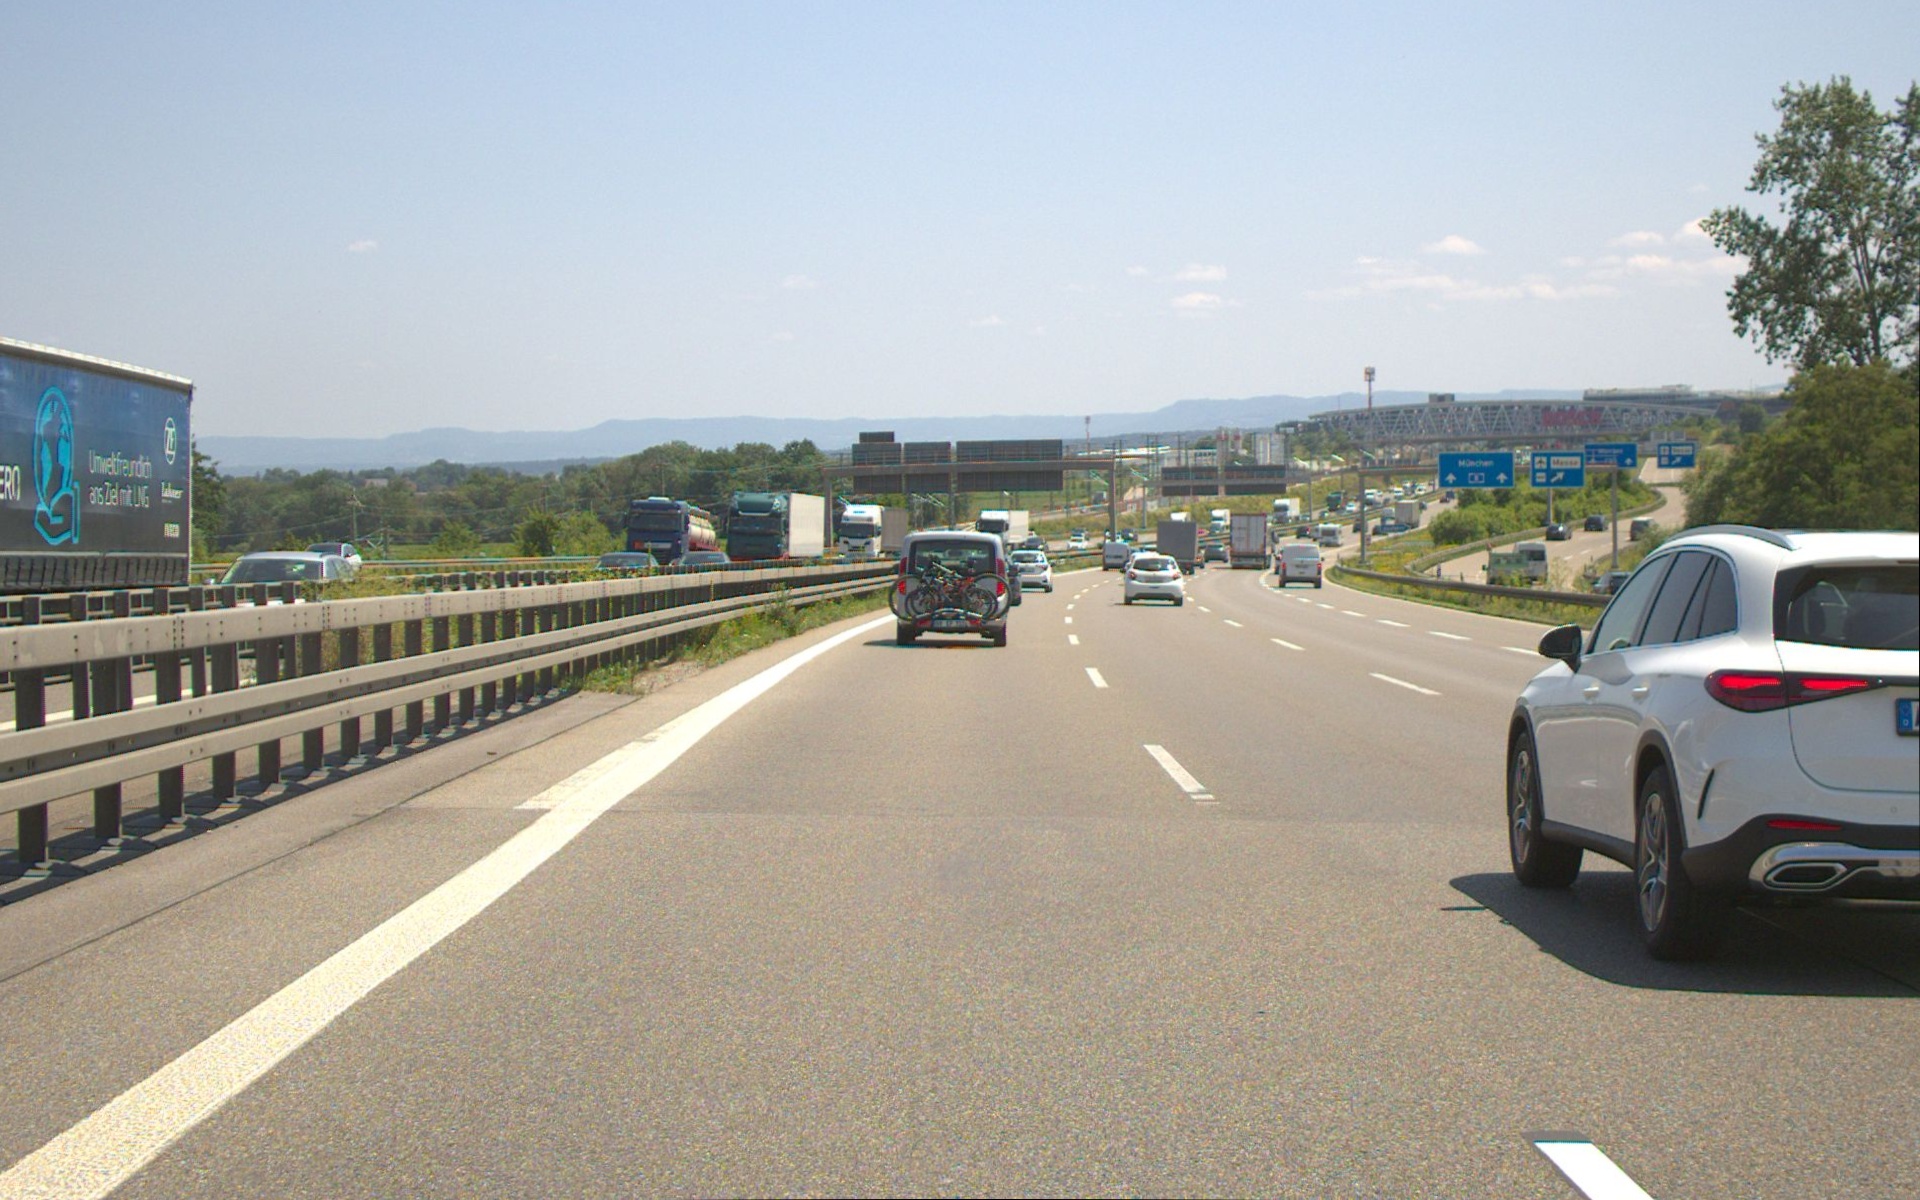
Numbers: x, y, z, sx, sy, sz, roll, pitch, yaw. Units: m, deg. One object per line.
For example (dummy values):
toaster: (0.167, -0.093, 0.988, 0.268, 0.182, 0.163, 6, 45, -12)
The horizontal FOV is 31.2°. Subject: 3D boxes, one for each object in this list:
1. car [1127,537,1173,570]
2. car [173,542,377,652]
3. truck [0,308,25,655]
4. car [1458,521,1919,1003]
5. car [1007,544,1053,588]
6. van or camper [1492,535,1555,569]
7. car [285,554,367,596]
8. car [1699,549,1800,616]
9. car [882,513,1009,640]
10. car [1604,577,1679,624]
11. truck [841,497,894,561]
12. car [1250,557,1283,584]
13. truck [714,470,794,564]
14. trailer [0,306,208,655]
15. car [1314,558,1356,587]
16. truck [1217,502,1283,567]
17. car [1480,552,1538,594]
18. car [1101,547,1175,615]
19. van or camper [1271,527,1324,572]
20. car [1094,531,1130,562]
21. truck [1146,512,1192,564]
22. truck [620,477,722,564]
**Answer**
car: (8.525, -2.089, 154.633, 1.982, 1.468, 4.000, 1, 1, 2)
car: (-9.650, -0.082, 48.763, 1.867, 1.459, 4.638, 1, 1, 1)
truck: (-13.478, -1.472, 40.397, 2.928, 4.330, 6.915, 1, 1, 1)
car: (3.438, 0.536, 14.310, 1.898, 1.641, 4.999, 1, 1, -1)
car: (2.532, -1.222, 123.888, 1.576, 1.547, 3.964, 1, 1, 2)
van or camper: (34.039, -2.905, 207.938, 2.528, 2.007, 4.462, 1, 1, -8)
car: (-22.449, -0.895, 121.894, 1.518, 1.397, 4.796, 1, 1, 6)
car: (23.446, -0.534, 102.239, 1.939, 1.917, 4.179, 1, 1, -1)
car: (-0.199, -0.396, 55.441, 1.926, 1.912, 4.948, 1, 1, 1)
car: (24.373, 0.006, 123.038, 1.993, 1.590, 4.000, 1, 1, 2)
truck: (-6.146, -4.734, 229.086, 2.881, 4.103, 6.384, 2, 1, 3)
car: (19.867, -1.900, 223.073, 1.994, 1.684, 3.999, 1, 1, 4)
truck: (-9.374, -3.748, 157.313, 2.967, 4.105, 7.598, 1, 1, 1)
trailer: (-13.346, -1.546, 46.350, 2.945, 4.327, 14.620, 1, 1, 1)
car: (21.965, -1.630, 201.629, 1.993, 1.684, 4.000, 1, 1, 0)
truck: (21.095, -4.802, 249.619, 4.040, 4.247, 11.755, 1, 3, 8)
car: (27.104, -1.350, 169.908, 1.993, 2.007, 4.001, 1, 1, -3)
car: (5.226, -0.580, 101.331, 1.926, 1.912, 4.518, 1, 1, 0)
van or camper: (15.402, -2.310, 157.055, 2.156, 2.007, 4.304, 1, 1, 2)
car: (9.946, -3.478, 224.249, 2.186, 1.996, 3.999, 1, 1, 4)
truck: (13.066, -3.856, 214.618, 2.703, 3.098, 10.658, 1, 1, 4)
truck: (-13.141, -3.605, 157.454, 3.219, 3.773, 12.901, 1, 1, 1)
